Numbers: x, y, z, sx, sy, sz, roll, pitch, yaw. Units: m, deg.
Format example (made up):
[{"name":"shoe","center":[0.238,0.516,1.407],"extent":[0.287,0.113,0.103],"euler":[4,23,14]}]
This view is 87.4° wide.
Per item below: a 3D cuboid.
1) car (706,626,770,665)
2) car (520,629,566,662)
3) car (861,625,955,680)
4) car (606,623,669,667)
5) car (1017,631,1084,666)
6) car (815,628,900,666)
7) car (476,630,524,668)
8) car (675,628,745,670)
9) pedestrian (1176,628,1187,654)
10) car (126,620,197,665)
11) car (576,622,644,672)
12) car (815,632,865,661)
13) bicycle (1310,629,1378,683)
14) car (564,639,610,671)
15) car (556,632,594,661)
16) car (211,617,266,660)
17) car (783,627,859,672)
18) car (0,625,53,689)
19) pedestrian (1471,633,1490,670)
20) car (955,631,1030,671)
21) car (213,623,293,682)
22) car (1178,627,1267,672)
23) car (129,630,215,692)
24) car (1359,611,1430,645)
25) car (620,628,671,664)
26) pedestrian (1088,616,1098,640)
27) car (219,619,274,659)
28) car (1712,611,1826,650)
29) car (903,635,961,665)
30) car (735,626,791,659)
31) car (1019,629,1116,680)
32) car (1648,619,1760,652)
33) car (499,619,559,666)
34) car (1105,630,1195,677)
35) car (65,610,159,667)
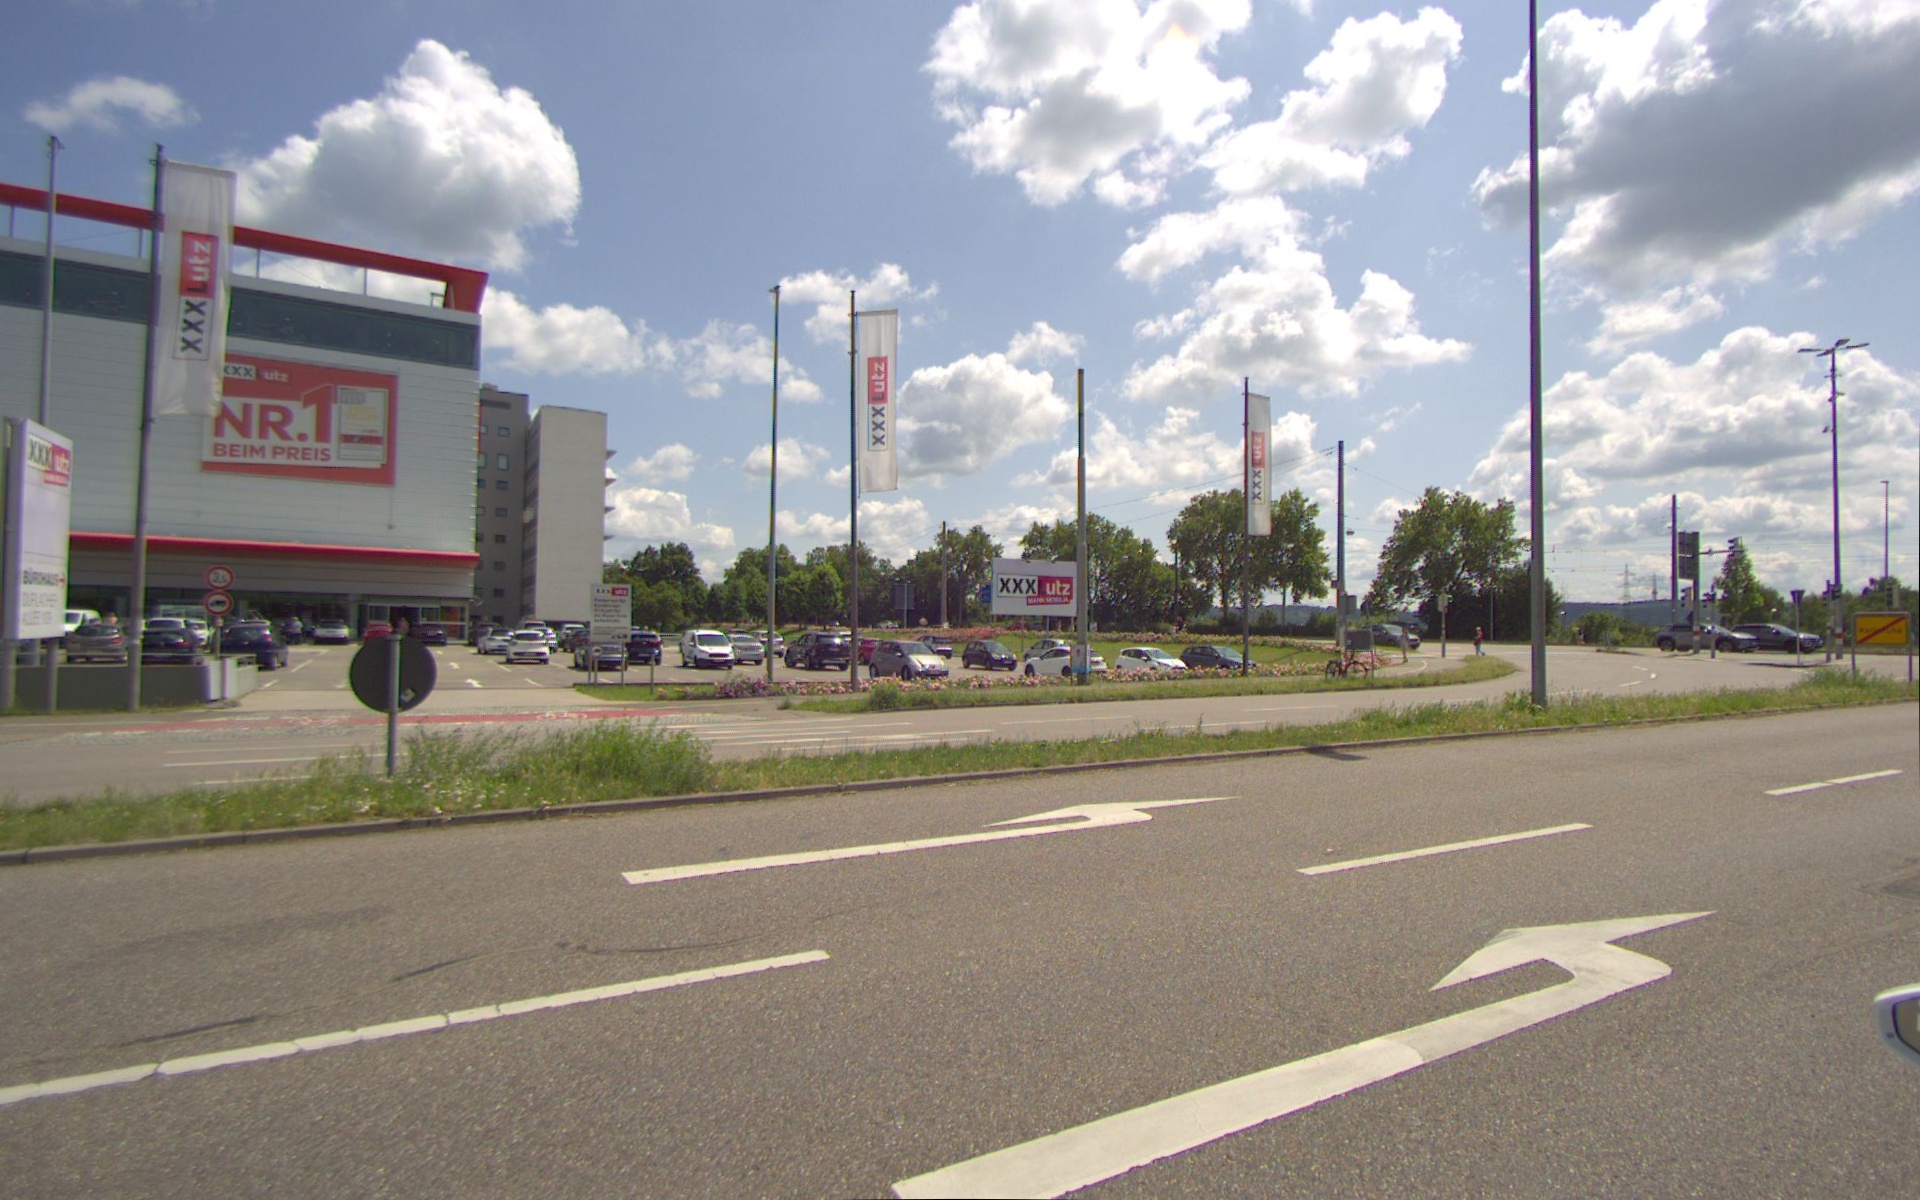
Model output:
[{"name":"car","center":[-11.388,2.329,51.355],"extent":[1.977,1.906,4.328],"euler":[2,-3,-30]},{"name":"car","center":[-25.074,2.731,60.379],"extent":[1.977,1.906,4.328],"euler":[2,-3,-30]},{"name":"car","center":[-2.131,2.053,39.726],"extent":[1.977,2.015,4.328],"euler":[2,-3,-30]},{"name":"car","center":[-15.552,2.162,48.296],"extent":[1.977,2.015,4.328],"euler":[2,-3,-30]},{"name":"car","center":[5.451,2.947,61.049],"extent":[1.977,2.015,4.328],"euler":[2,-3,-30]},{"name":"car","center":[-5.692,2.577,55.179],"extent":[1.985,2.015,5.245],"euler":[2,-3,-42]},{"name":"car","center":[-25.437,2.693,55.498],"extent":[1.977,2.015,4.328],"euler":[2,-3,-30]},{"name":"car","center":[-11.538,2.235,46.191],"extent":[1.977,1.863,4.328],"euler":[2,-3,-30]},{"name":"pedestrian","center":[15.843,2.914,71.931],"extent":[0.588,1.834,0.532],"euler":[0,-2,-20]},{"name":"car","center":[-37.820,2.026,47.691],"extent":[1.977,2.015,4.328],"euler":[2,-3,-30]},{"name":"car","center":[-15.079,1.996,43.122],"extent":[1.977,2.015,4.328],"euler":[2,-3,-30]},{"name":"car","center":[-8.528,3.264,70.994],"extent":[1.977,2.015,4.328],"euler":[2,-3,-30]},{"name":"bicycle","center":[12.516,1.802,32.772],"extent":[2.024,1.697,1.013],"euler":[1,-3,-30]},{"name":"car","center":[-23.078,3.375,62.039],"extent":[1.977,1.906,4.328],"euler":[2,-3,-30]},{"name":"car","center":[-27.356,3.292,71.266],"extent":[1.975,2.015,4.056],"euler":[1,-3,-28]},{"name":"car","center":[-35.185,1.872,49.073],"extent":[1.756,2.040,3.968],"euler":[1,-2,-30]},{"name":"car","center":[-6.720,2.347,48.149],"extent":[1.977,2.015,4.560],"euler":[2,-2,-30]},{"name":"car","center":[-31.911,1.856,33.188],"extent":[1.977,2.015,4.328],"euler":[2,-3,-30]},{"name":"pedestrian","center":[27.315,2.692,52.744],"extent":[0.784,1.862,0.865],"euler":[2,0,31]},{"name":"car","center":[1.657,2.698,53.091],"extent":[1.977,2.015,4.328],"euler":[2,-3,-30]},{"name":"car","center":[-25.955,1.892,37.017],"extent":[1.977,2.015,4.328],"euler":[2,-2,-30]},{"name":"car","center":[12.598,2.369,48.405],"extent":[1.976,2.040,3.970],"euler":[1,-3,-29]},{"name":"car","center":[-28.112,2.134,35.956],"extent":[1.822,2.015,4.051],"euler":[2,-2,-31]},{"name":"car","center":[26.786,1.784,62.059],"extent":[1.966,2.040,3.990],"euler":[0,-2,-14]},{"name":"car","center":[-18.383,2.682,58.532],"extent":[1.977,2.015,4.054],"euler":[2,-3,-30]},{"name":"pedestrian","center":[11.248,2.377,85.013],"extent":[0.761,2.040,0.566],"euler":[0,-2,-10]},{"name":"car","center":[-38.050,2.052,53.630],"extent":[1.977,2.040,3.968],"euler":[1,-2,-30]},{"name":"car","center":[43.370,1.682,53.954],"extent":[1.977,2.015,4.328],"euler":[2,-3,-30]},{"name":"car","center":[-1.970,3.435,69.489],"extent":[2.223,2.015,4.328],"euler":[2,-3,-30]},{"name":"car","center":[-12.371,2.645,62.746],"extent":[1.978,2.015,4.588],"euler":[2,-3,-31]},{"name":"car","center":[4.512,2.289,42.750],"extent":[1.977,2.015,4.328],"euler":[2,-3,-30]},{"name":"car","center":[40.022,1.958,54.158],"extent":[1.881,1.696,4.486],"euler":[2,-3,-29]},{"name":"car","center":[-19.980,1.969,46.450],"extent":[1.977,2.015,4.328],"euler":[3,-4,-30]},{"name":"car","center":[8.587,2.413,45.714],"extent":[1.976,2.040,3.970],"euler":[1,-3,-29]},{"name":"car","center":[-32.511,1.479,38.653],"extent":[1.977,2.040,4.788],"euler":[2,-3,-31]}]
